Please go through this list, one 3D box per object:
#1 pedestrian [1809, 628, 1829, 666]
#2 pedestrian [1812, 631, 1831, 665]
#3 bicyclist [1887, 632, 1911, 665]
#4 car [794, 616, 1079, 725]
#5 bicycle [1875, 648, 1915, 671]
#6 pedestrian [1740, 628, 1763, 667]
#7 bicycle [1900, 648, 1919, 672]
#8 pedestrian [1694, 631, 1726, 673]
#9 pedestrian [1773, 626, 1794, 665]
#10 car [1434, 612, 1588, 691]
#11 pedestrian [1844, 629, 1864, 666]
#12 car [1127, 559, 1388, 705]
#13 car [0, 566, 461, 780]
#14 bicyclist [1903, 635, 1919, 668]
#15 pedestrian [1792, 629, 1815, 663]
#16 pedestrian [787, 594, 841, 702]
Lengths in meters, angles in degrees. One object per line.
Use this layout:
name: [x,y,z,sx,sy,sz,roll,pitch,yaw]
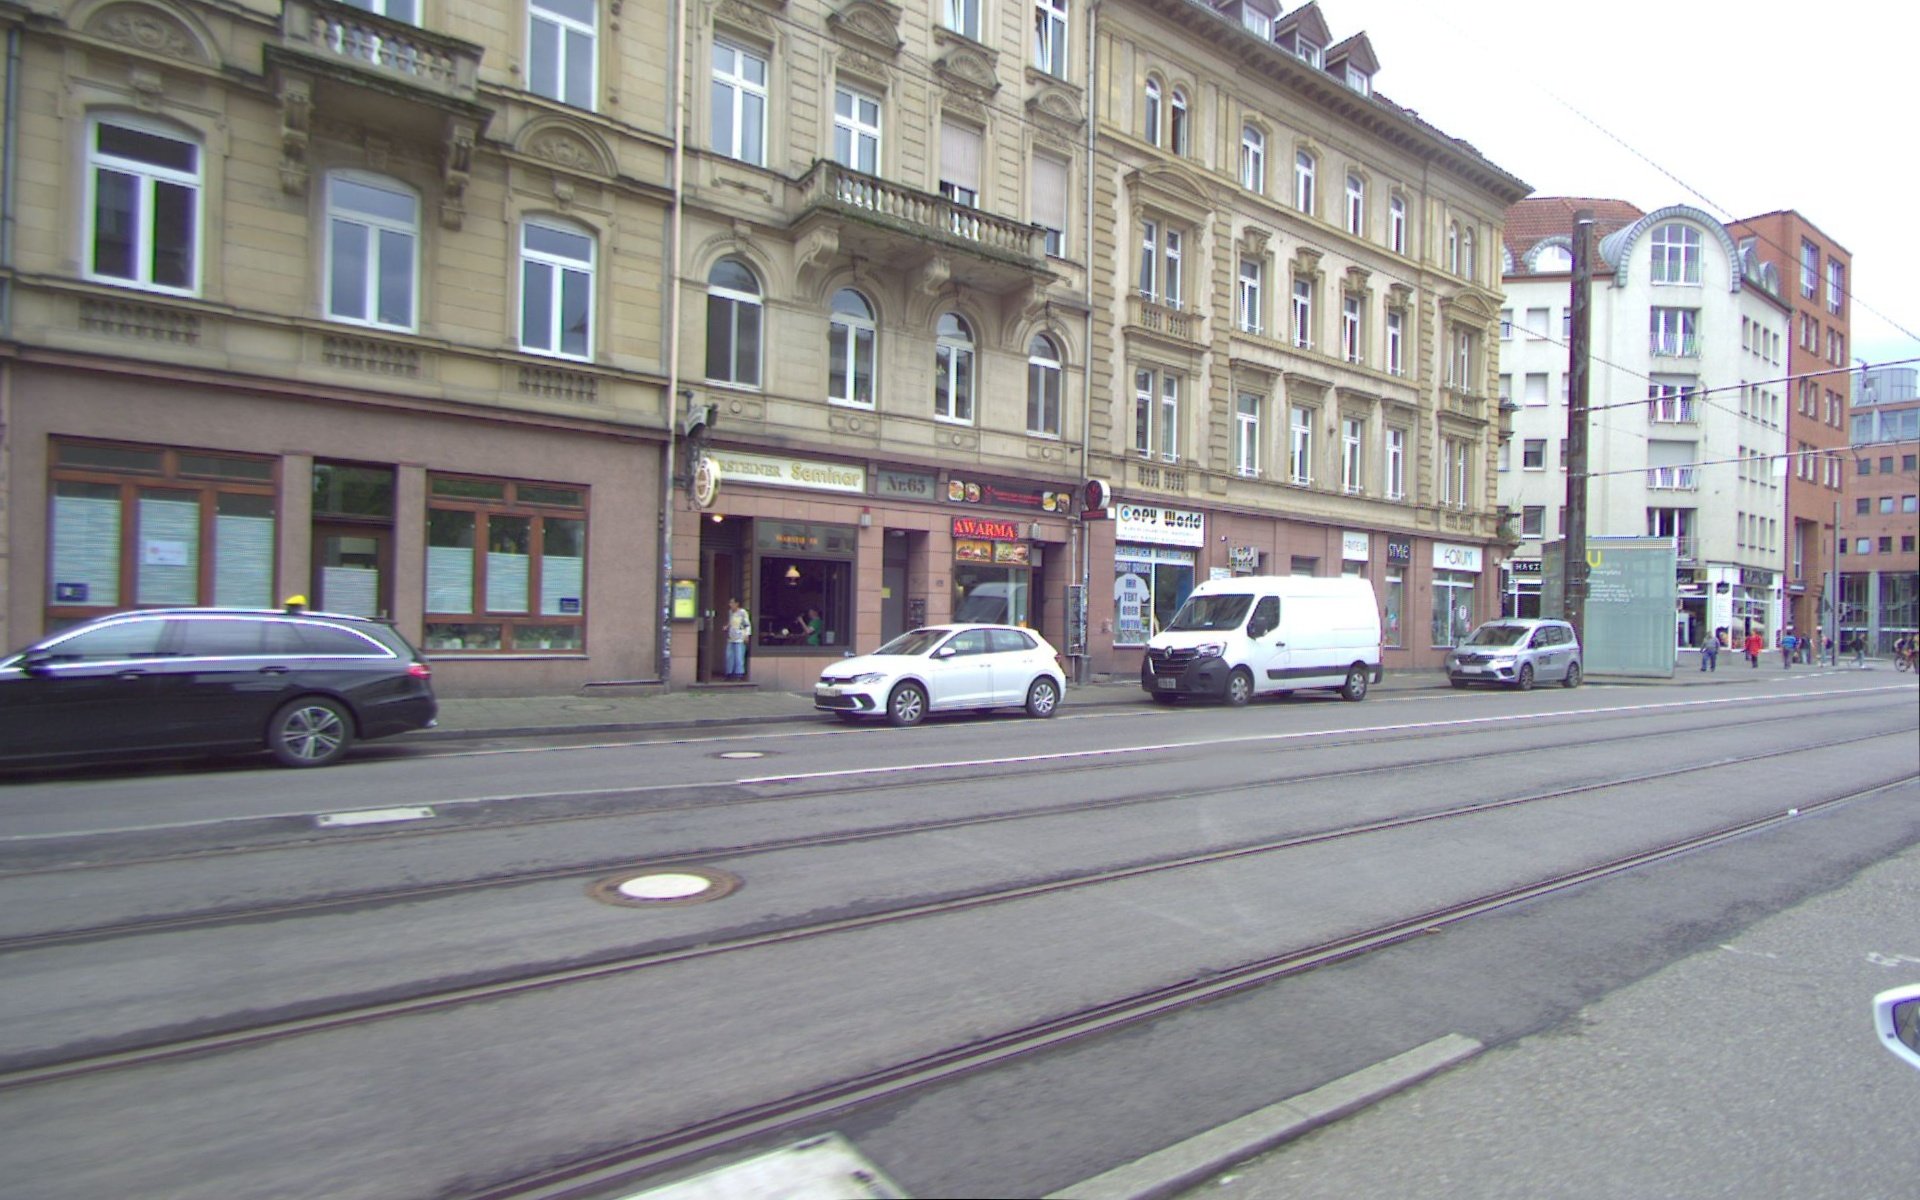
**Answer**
pedestrian: [38.775,2.118,45.326,0.652,1.709,0.719,1,-2,42]
pedestrian: [43.985,2.463,51.298,0.793,1.706,0.564,3,0,-40]
bicyclist: [44.354,2.290,47.447,0.482,1.561,0.812,1,-1,13]
car: [-0.279,1.036,15.313,4.127,1.441,1.758,2,-4,-37]
bicycle: [44.421,2.808,47.749,0.468,1.034,1.913,1,-1,12]
pedestrian: [34.959,2.093,44.364,0.713,1.709,0.658,0,-3,44]
bicycle: [41.743,2.611,44.018,1.895,1.034,0.475,2,-2,-38]
pedestrian: [31.485,2.171,42.186,0.811,1.709,0.720,3,-2,-16]
pedestrian: [36.402,2.019,44.399,0.718,1.709,0.653,4,-3,-45]
car: [14.346,1.325,26.067,4.479,1.889,1.889,2,-3,-38]
pedestrian: [46.961,2.503,52.756,0.792,1.914,0.605,3,-1,-38]
car: [5.994,0.673,19.878,5.614,2.519,2.038,2,-3,-37]
car: [-7.578,0.646,9.334,5.006,1.711,1.905,2,-4,-38]
bicyclist: [41.749,2.253,44.021,0.804,1.425,0.475,2,-1,-37]
pedestrian: [42.656,2.333,50.818,0.858,1.709,0.659,1,-2,40]
pedestrian: [-2.863,0.928,19.716,0.696,2.040,0.747,2,0,24]
